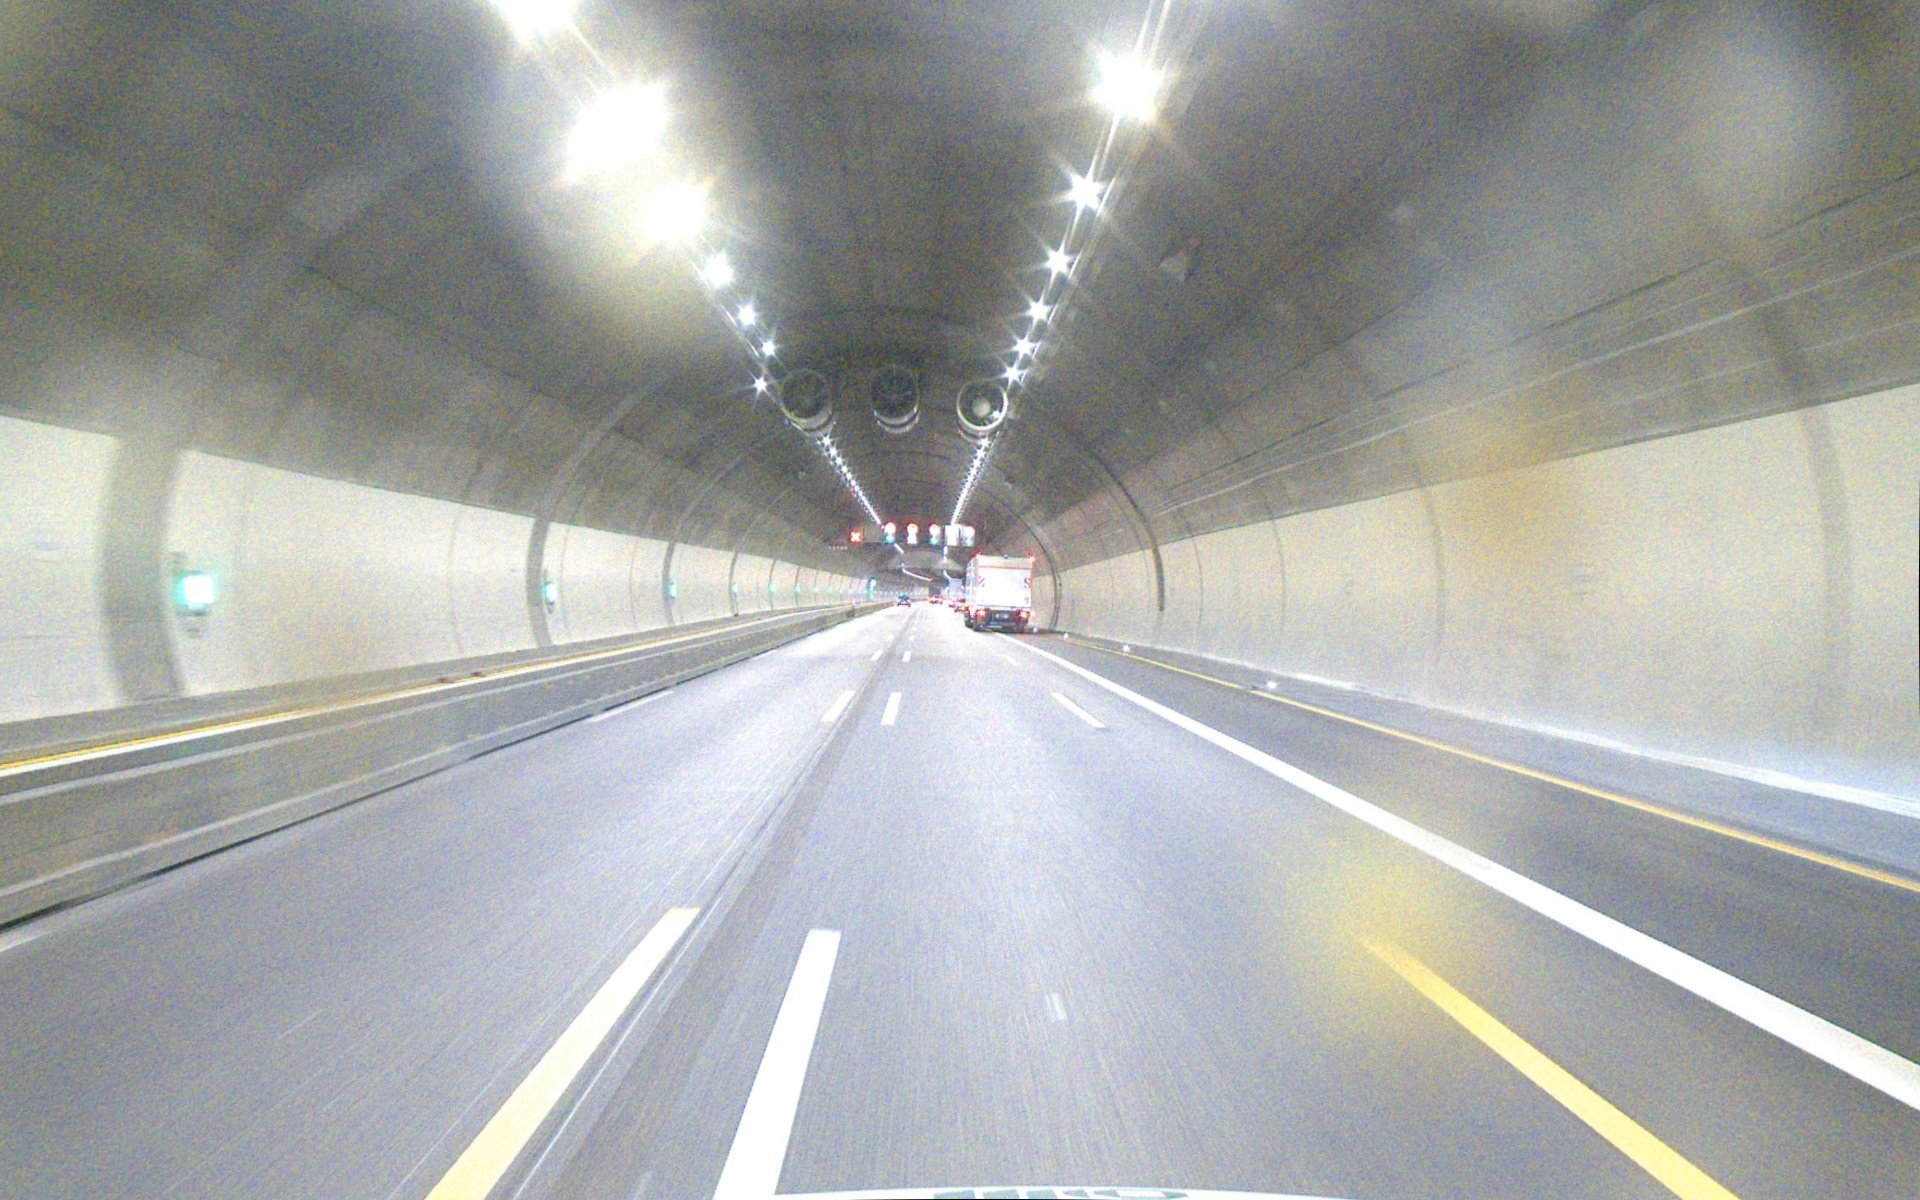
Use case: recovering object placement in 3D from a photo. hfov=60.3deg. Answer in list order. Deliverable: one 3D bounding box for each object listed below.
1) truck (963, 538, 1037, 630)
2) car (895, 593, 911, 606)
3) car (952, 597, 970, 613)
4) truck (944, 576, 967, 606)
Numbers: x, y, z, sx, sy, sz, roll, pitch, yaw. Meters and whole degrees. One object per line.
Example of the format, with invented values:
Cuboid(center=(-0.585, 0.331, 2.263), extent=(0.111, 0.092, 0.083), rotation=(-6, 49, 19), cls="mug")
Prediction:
Cuboid(center=(1.791, -0.661, 79.274), extent=(3.029, 3.986, 10.365), rotation=(2, -1, -1), cls="truck")
Cuboid(center=(-6.658, -0.081, 193.426), extent=(1.723, 1.486, 4.118), rotation=(2, 1, -1), cls="car")
Cuboid(center=(0.108, 0.463, 168.032), extent=(1.704, 1.486, 3.960), rotation=(2, 1, 0), cls="car")
Cuboid(center=(-0.599, -1.274, 239.270), extent=(3.003, 3.986, 10.367), rotation=(2, -1, 1), cls="truck")
